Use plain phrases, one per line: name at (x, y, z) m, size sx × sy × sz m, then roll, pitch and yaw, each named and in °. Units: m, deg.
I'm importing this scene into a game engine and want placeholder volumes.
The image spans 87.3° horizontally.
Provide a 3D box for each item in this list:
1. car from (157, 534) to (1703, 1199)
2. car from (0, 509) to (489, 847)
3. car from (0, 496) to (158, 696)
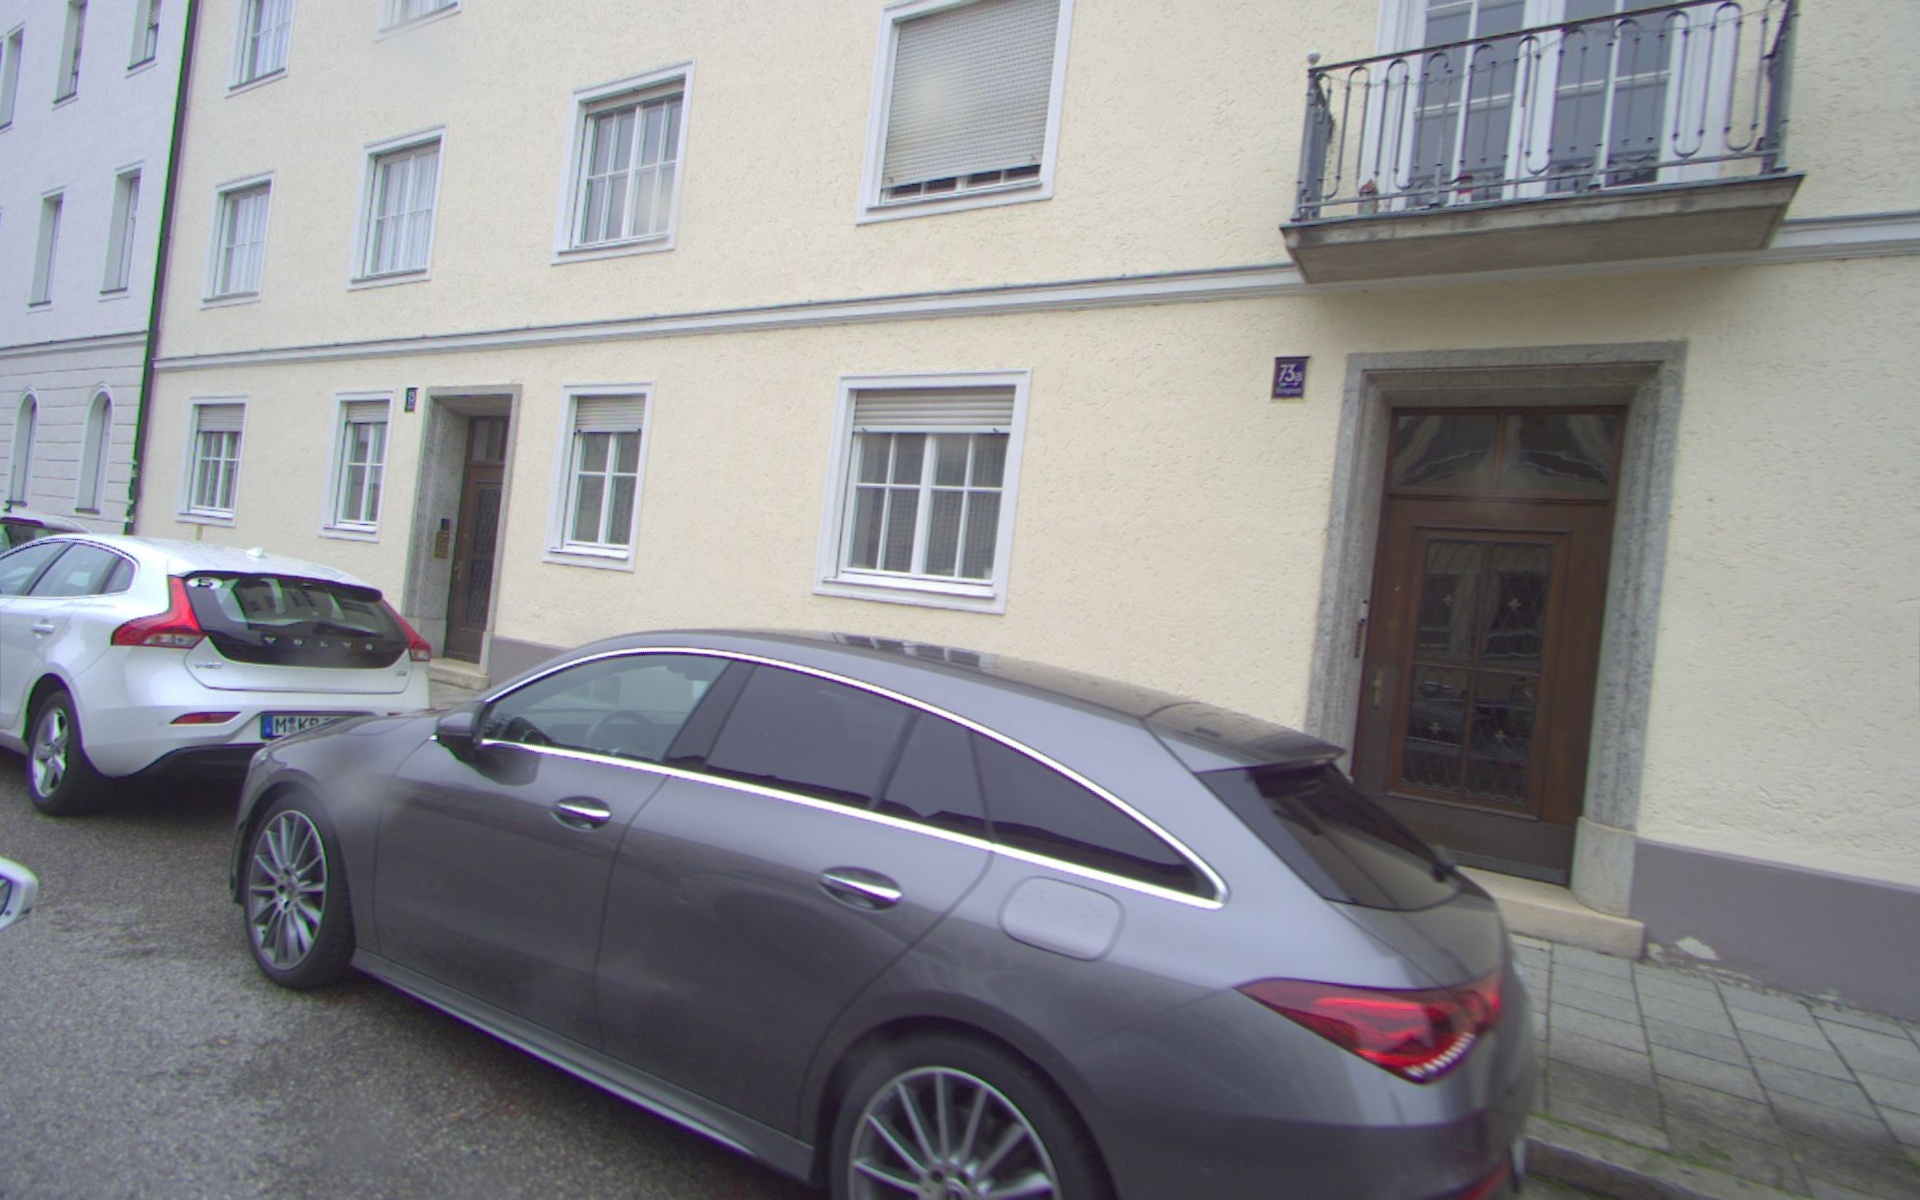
car at (-0.525, 0.769, 3.358) m, size 4.538 × 1.446 × 1.777 m, roll 6°, pitch -2°, yaw 31°
car at (-5.136, 0.282, 6.342) m, size 4.221 × 1.446 × 1.729 m, roll 6°, pitch -2°, yaw 31°
car at (-9.190, -0.204, 9.005) m, size 3.925 × 1.561 × 1.655 m, roll 6°, pitch -2°, yaw 29°
